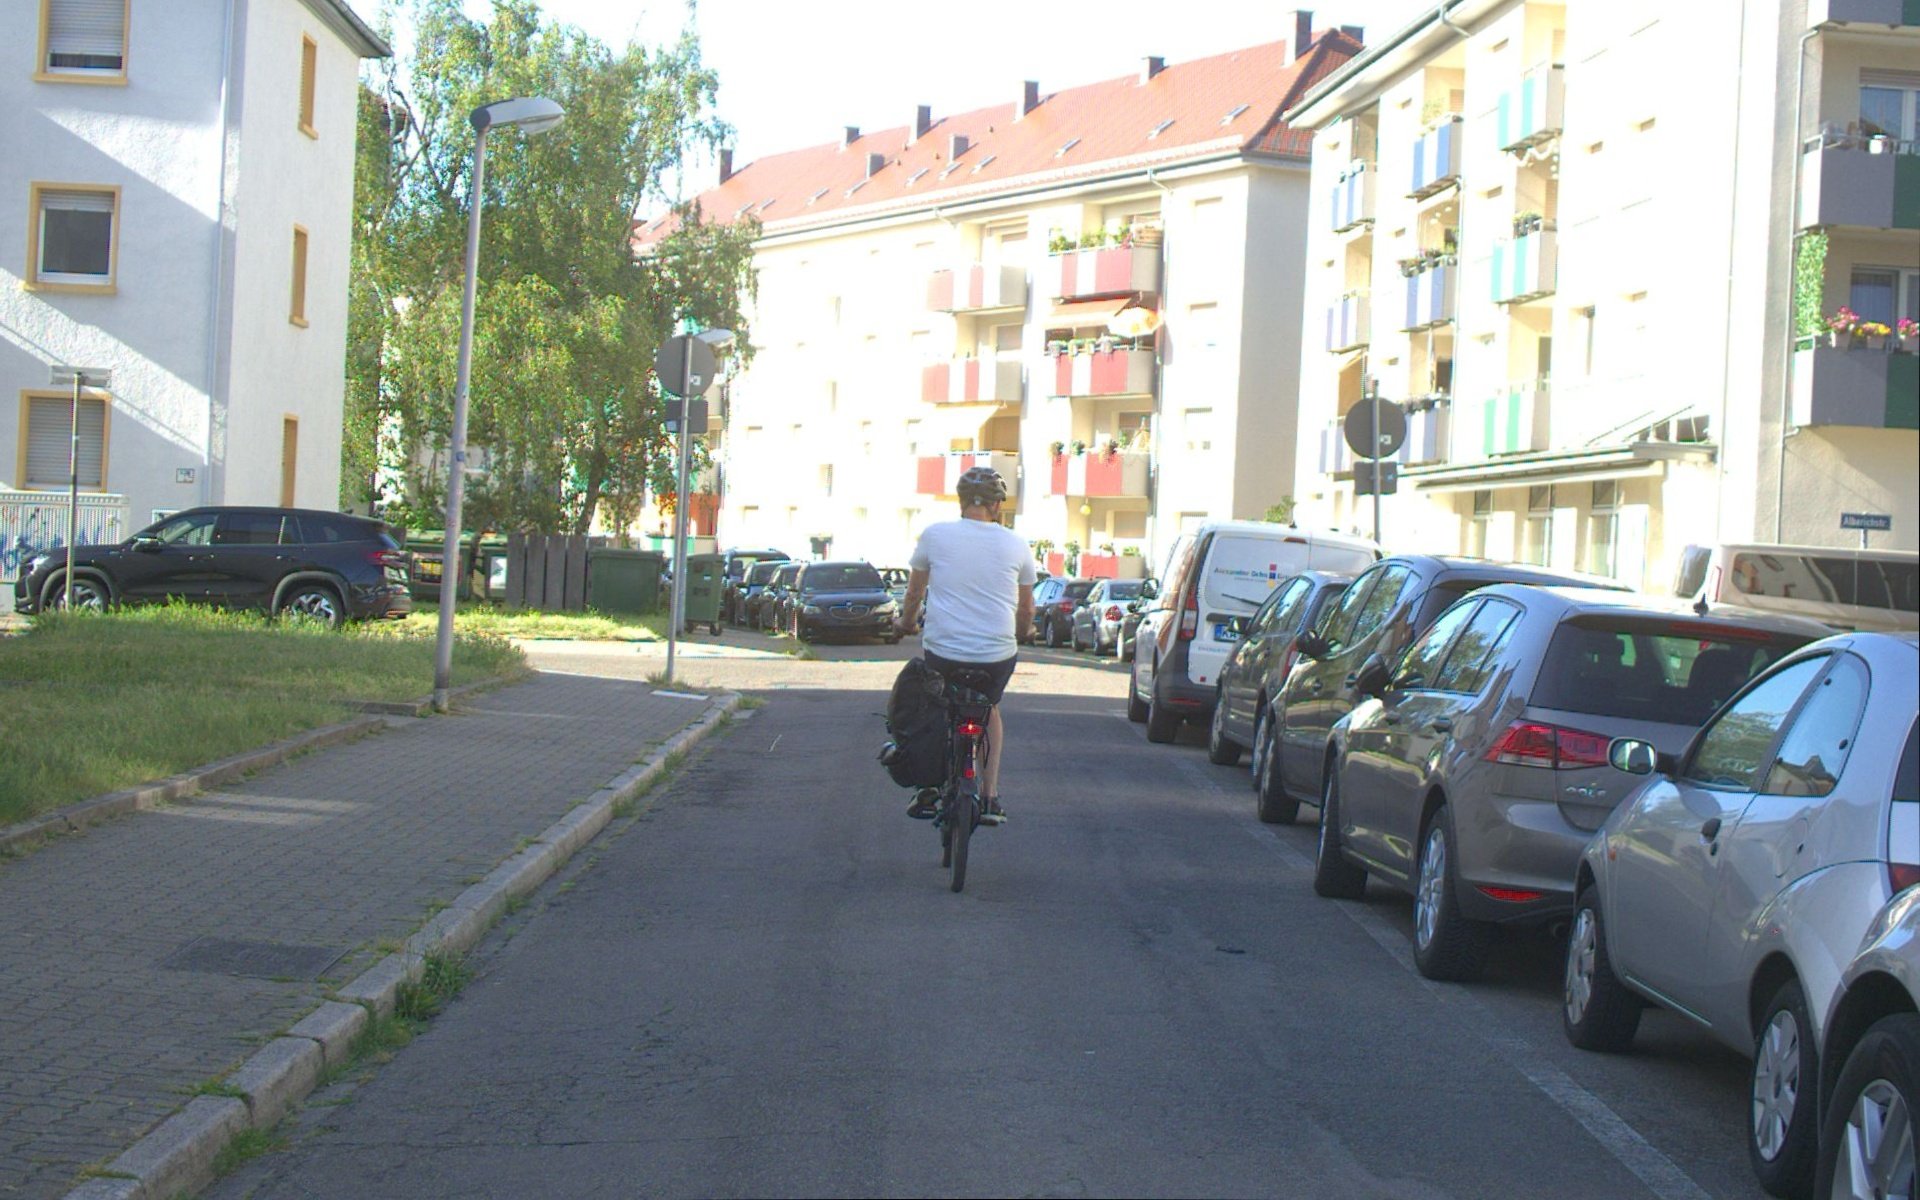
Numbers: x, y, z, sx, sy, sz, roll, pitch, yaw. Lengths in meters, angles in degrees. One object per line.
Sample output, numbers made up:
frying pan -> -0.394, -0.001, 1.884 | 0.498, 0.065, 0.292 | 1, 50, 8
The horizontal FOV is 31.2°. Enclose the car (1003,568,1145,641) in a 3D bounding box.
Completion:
car -> 2.321, 0.062, 71.254 | 1.693, 1.427, 4.689 | 1, 0, -14

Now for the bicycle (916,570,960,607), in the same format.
bicycle -> -0.645, -0.345, 99.576 | 0.617, 0.975, 1.896 | -1, 3, -22

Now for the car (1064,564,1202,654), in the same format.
car -> 3.235, 0.138, 65.330 | 1.677, 1.442, 4.725 | 5, 1, -8

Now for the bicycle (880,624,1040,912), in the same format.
bicycle -> -0.015, 0.689, 14.877 | 0.627, 1.111, 1.816 | 1, 1, -1

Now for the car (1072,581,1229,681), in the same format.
car -> 3.202, 0.502, 58.757 | 1.677, 1.402, 4.547 | 5, 1, -9

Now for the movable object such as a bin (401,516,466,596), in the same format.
movable object such as a bin -> -9.624, -0.807, 62.883 | 1.060, 1.430, 1.003 | 1, 1, -3

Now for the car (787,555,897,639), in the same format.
car -> -2.150, -0.088, 61.559 | 1.677, 1.448, 4.621 | 0, 1, -5

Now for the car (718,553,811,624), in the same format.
car -> -4.118, -0.256, 71.971 | 1.555, 1.437, 3.969 | 0, 1, -9

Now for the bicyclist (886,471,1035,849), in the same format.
bicyclist -> -0.005, 0.249, 14.856 | 0.596, 1.573, 0.907 | 1, 0, -1

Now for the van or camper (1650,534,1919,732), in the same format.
van or camper -> 10.597, 0.408, 38.784 | 5.123, 2.006, 2.000 | 3, 2, 0

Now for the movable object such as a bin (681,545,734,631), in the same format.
movable object such as a bin -> -4.213, -0.202, 57.443 | 0.775, 1.388, 1.417 | 2, 0, -3

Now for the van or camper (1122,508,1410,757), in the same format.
van or camper -> 2.422, 0.211, 28.358 | 1.792, 1.741, 4.735 | 5, 1, 0

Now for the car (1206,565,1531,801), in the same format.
car -> 2.652, 0.493, 23.053 | 1.572, 1.412, 3.788 | 1, 1, -2

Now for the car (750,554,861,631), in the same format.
car -> -3.027, -0.171, 66.682 | 1.677, 1.437, 4.281 | 0, 1, -9

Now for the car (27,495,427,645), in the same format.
car -> -8.935, -0.352, 42.144 | 4.488, 1.658, 1.719 | 2, -1, -1

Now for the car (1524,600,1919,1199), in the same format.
car -> 2.768, 0.809, 9.717 | 1.628, 1.389, 3.489 | 6, 1, 0

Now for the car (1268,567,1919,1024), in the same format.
car -> 2.366, 0.649, 13.629 | 1.628, 1.445, 3.952 | 2, 1, -4

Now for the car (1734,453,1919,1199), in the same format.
car -> 2.513, 0.712, 4.431 | 1.775, 1.713, 4.308 | 5, 1, -3

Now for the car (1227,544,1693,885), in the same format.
car -> 2.571, 0.531, 18.500 | 1.617, 1.545, 3.612 | 3, 1, -5

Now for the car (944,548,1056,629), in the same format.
car -> 0.869, -0.287, 77.795 | 1.693, 1.650, 4.392 | 1, 2, -10

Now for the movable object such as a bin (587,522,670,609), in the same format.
movable object such as a bin -> -5.556, -0.584, 57.708 | 1.220, 1.376, 0.767 | 3, 0, 2

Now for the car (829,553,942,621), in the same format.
car -> -1.985, -0.352, 90.299 | 1.765, 1.630, 4.043 | 0, 2, -19
